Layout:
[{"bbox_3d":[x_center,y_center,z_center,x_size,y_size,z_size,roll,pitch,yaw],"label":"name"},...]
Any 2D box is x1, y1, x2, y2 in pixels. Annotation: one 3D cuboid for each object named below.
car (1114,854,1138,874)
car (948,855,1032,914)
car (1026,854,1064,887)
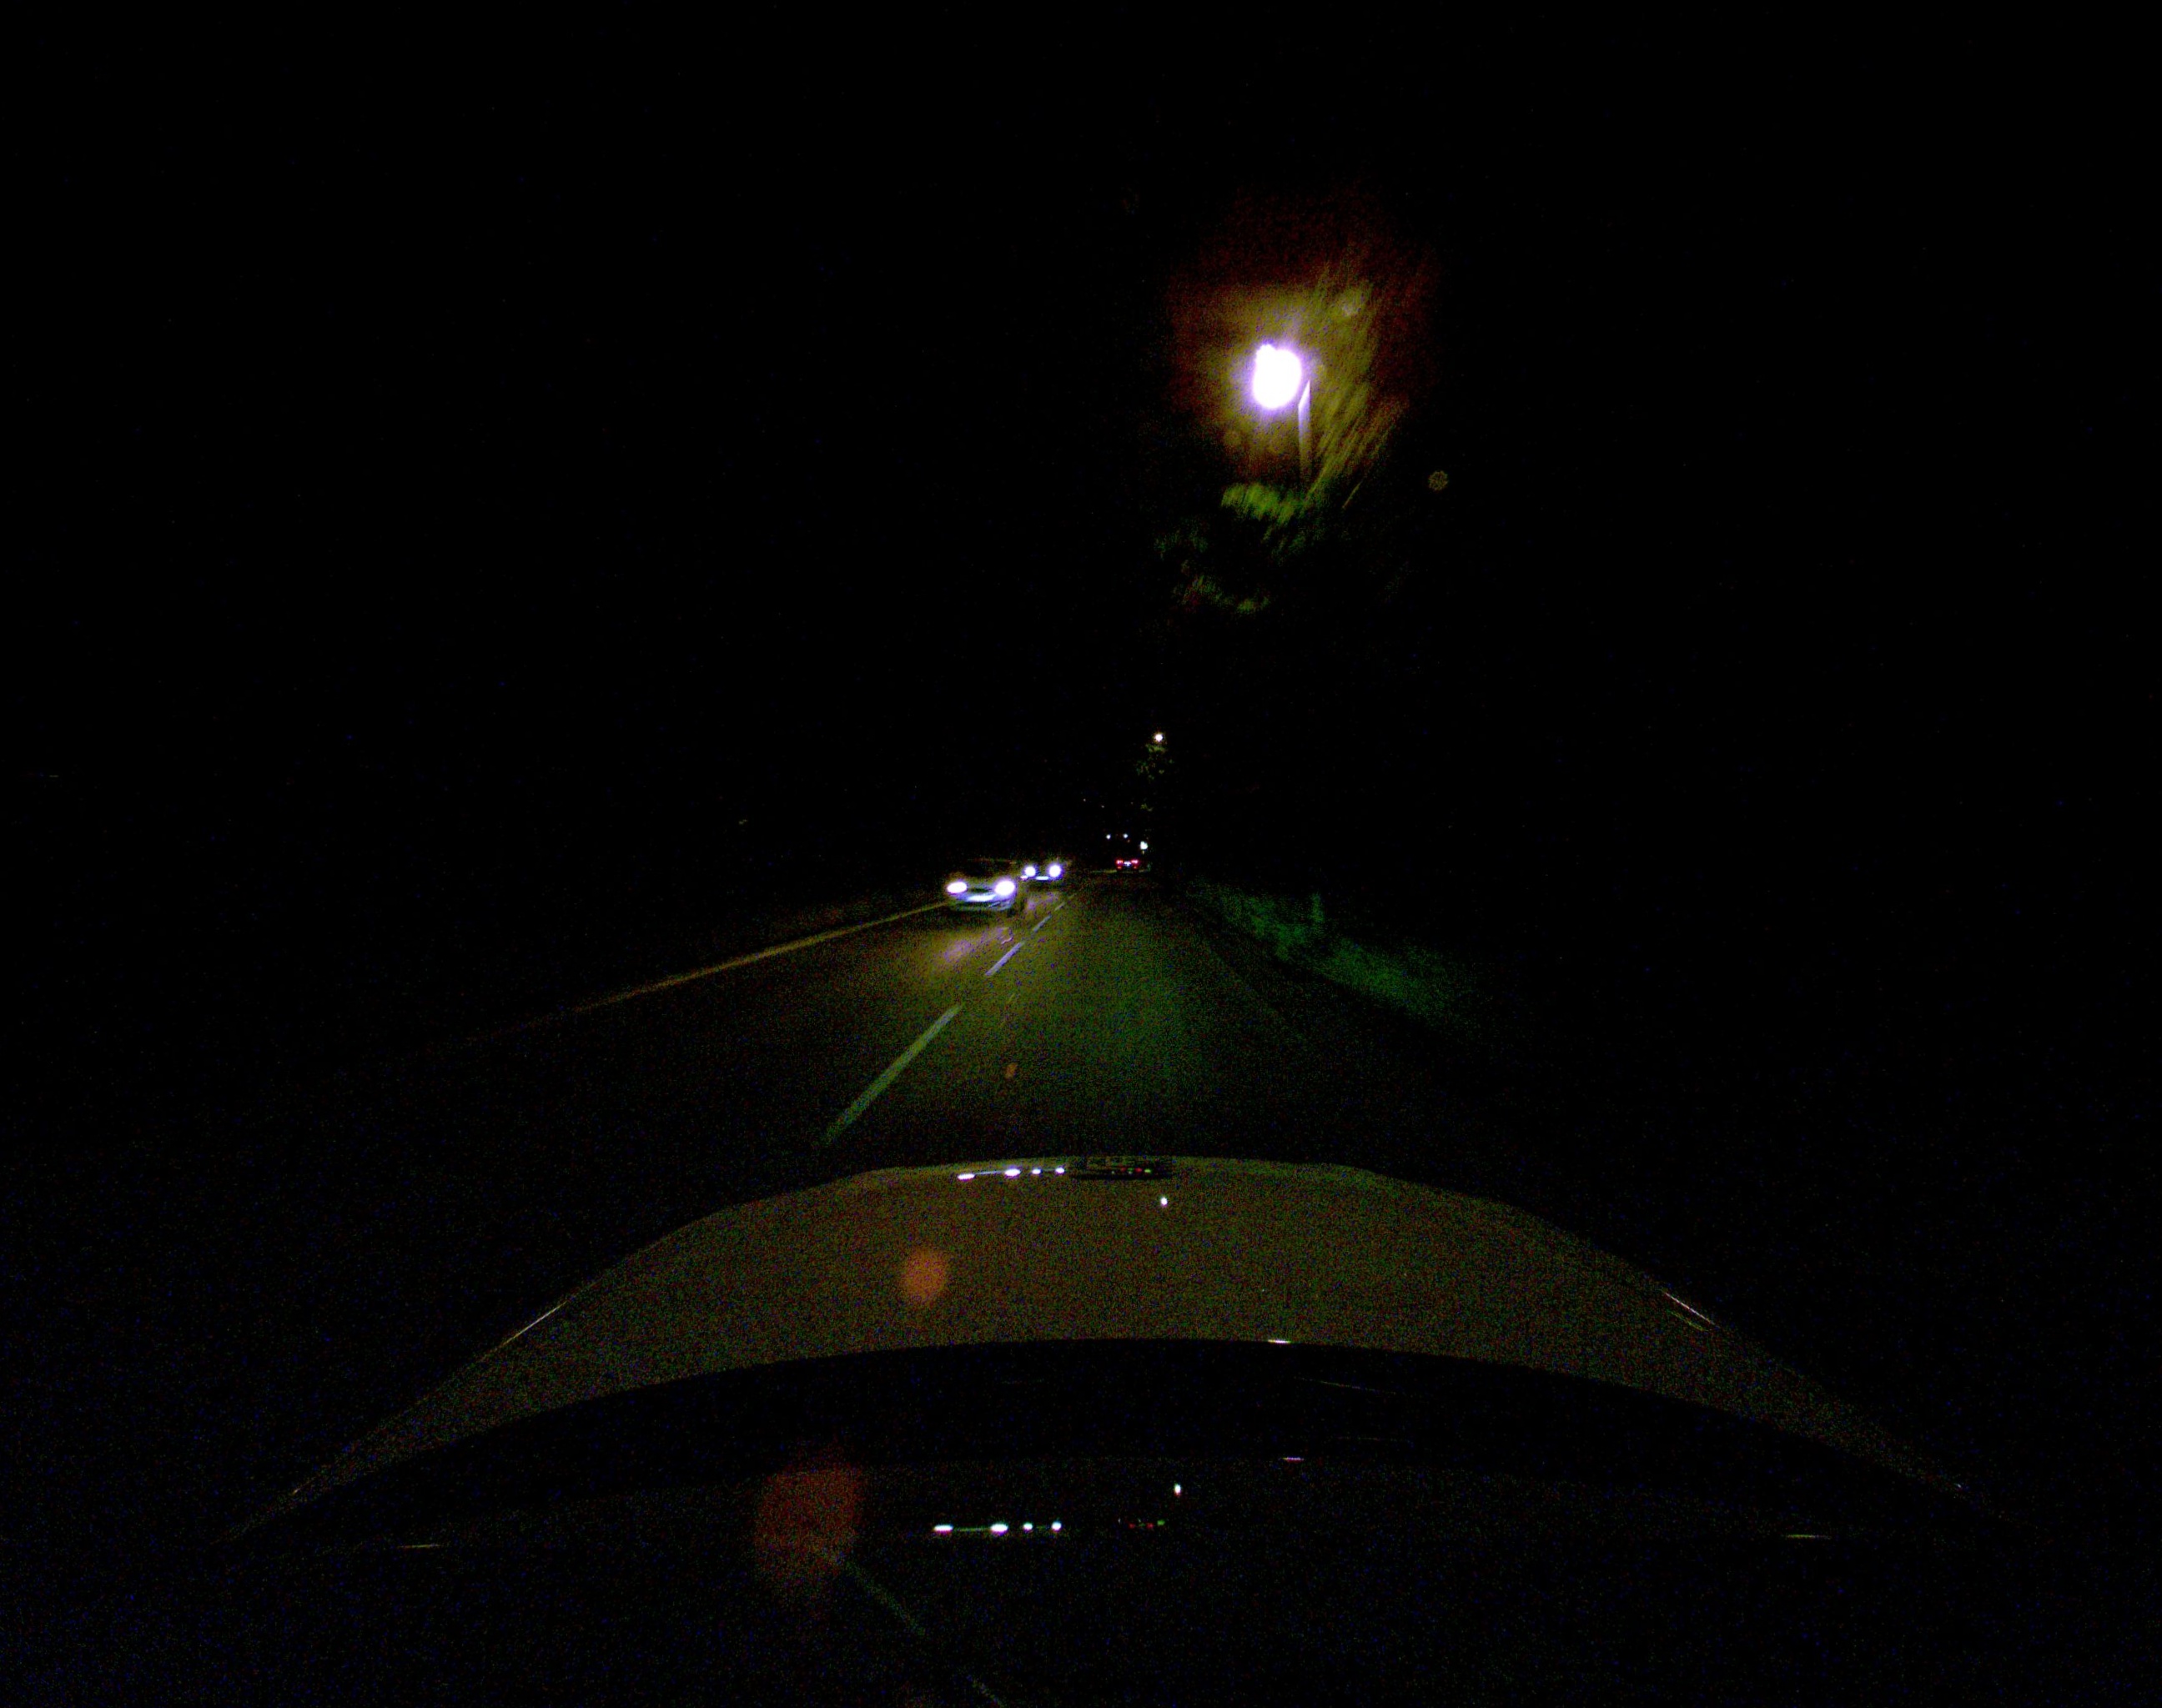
[{"bbox_3d":[3.754,0.800,68.146,1.758,1.642,3.721,-1,0,-1],"label":"car"},{"bbox_3d":[-2.400,0.778,22.430,1.681,1.457,4.002,-1,0,2],"label":"car"},{"bbox_3d":[-1.711,0.761,39.507,1.641,1.491,3.558,-1,0,1],"label":"car"}]
